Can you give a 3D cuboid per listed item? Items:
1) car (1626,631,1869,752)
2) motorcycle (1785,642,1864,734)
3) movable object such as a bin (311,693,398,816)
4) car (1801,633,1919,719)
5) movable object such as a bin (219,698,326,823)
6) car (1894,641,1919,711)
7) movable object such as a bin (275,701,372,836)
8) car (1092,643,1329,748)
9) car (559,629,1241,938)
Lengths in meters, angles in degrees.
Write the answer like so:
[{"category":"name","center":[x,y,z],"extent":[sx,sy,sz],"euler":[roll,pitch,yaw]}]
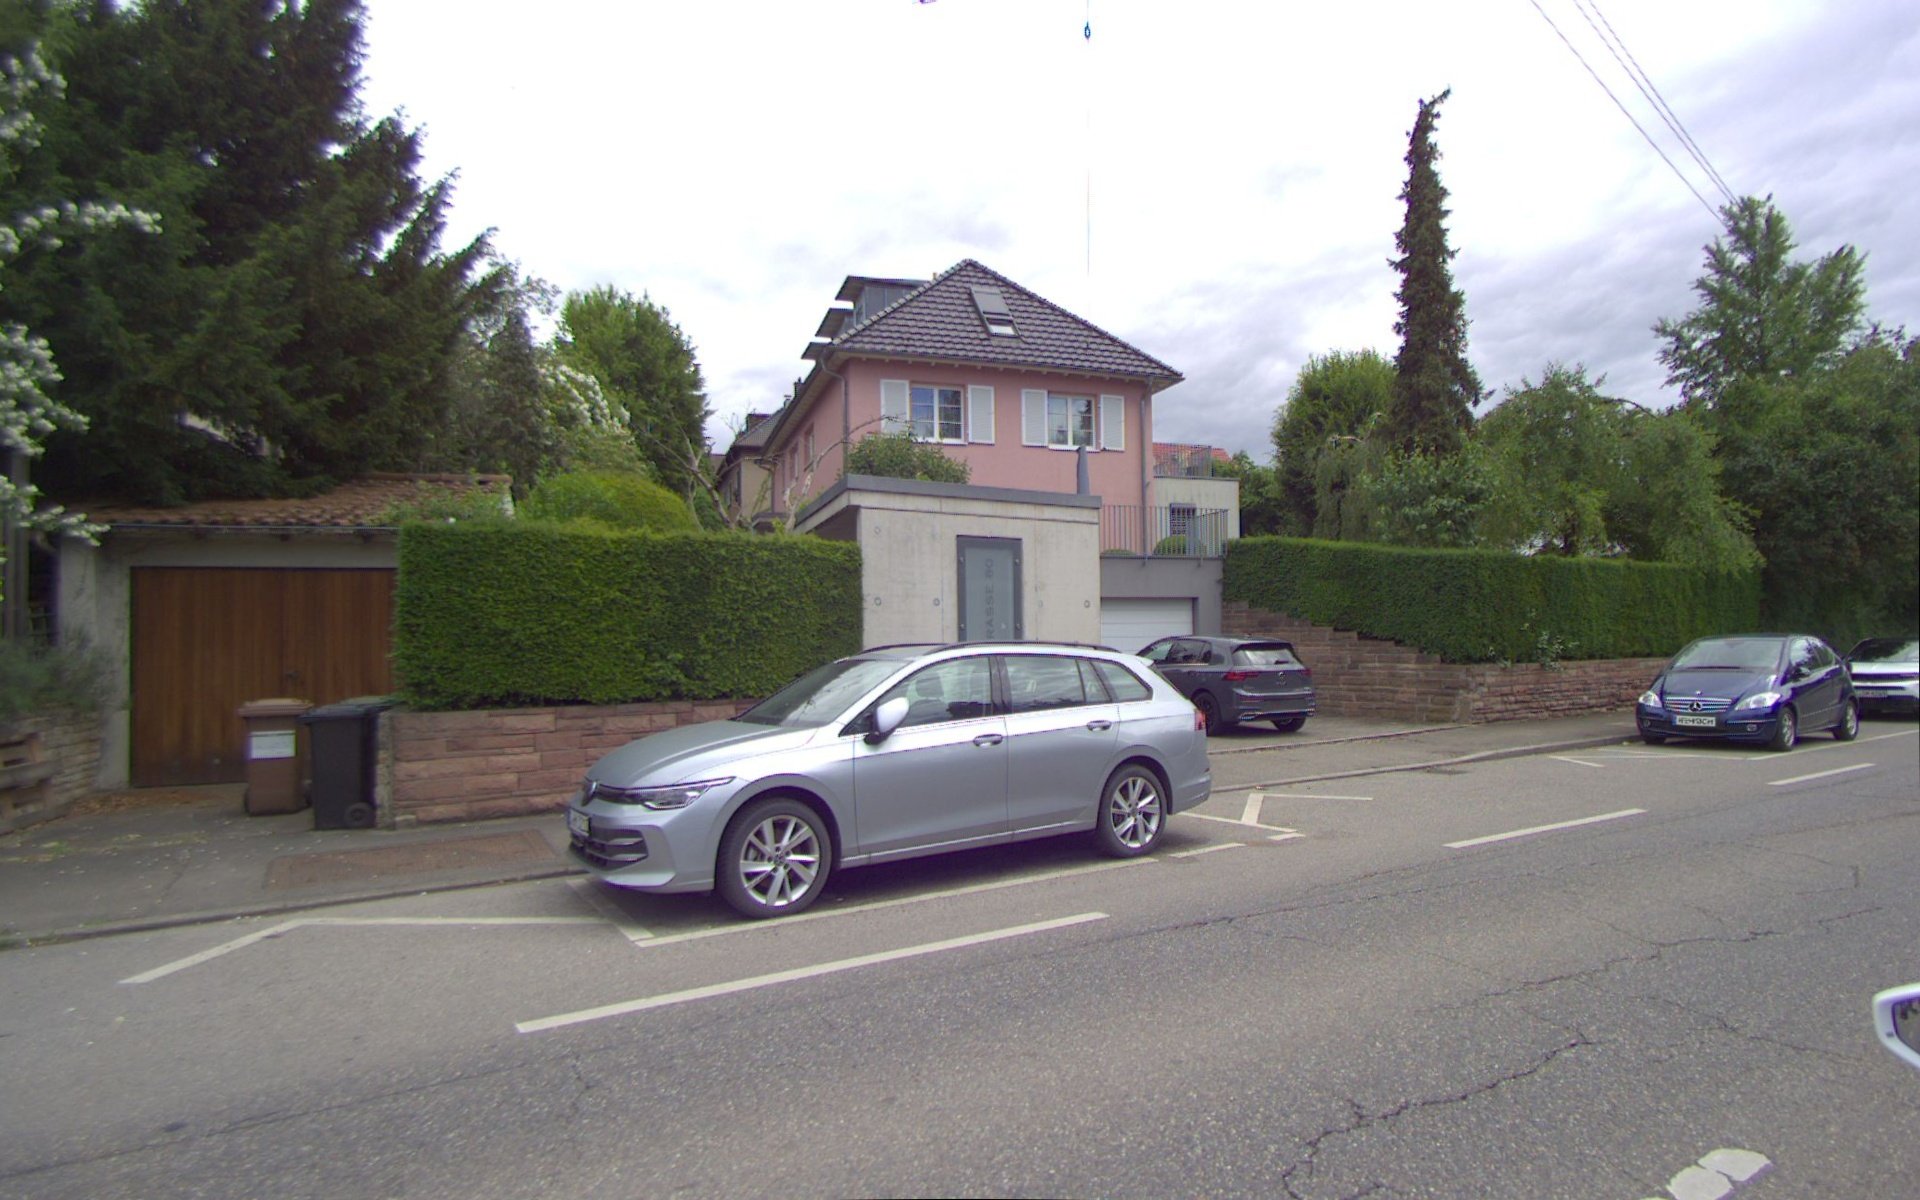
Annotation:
[{"category":"car","center":[11.745,1.292,14.927],"extent":[3.930,1.576,1.669],"euler":[2,-4,-34]},{"category":"motorcycle","center":[14.567,1.447,16.949],"extent":[0.876,1.373,2.295],"euler":[-5,-3,40]},{"category":"movable object such as a bin","center":[-5.072,1.279,8.441],"extent":[0.501,0.954,0.538],"euler":[2,-2,-21]},{"category":"car","center":[18.166,1.413,19.437],"extent":[3.986,1.514,1.878],"euler":[1,-4,-35]},{"category":"movable object such as a bin","center":[-5.639,1.300,8.262],"extent":[0.607,0.954,0.447],"euler":[2,-2,-21]},{"category":"car","center":[22.595,1.656,22.469],"extent":[3.871,1.497,1.659],"euler":[1,-3,-35]},{"category":"movable object such as a bin","center":[-4.890,1.274,7.738],"extent":[0.501,0.954,0.538],"euler":[2,-2,-21]},{"category":"car","center":[3.795,1.399,15.820],"extent":[1.824,1.409,3.580],"euler":[0,-2,-24]},{"category":"car","center":[-0.243,0.957,6.856],"extent":[4.369,1.474,1.798],"euler":[1,-3,-35]}]
